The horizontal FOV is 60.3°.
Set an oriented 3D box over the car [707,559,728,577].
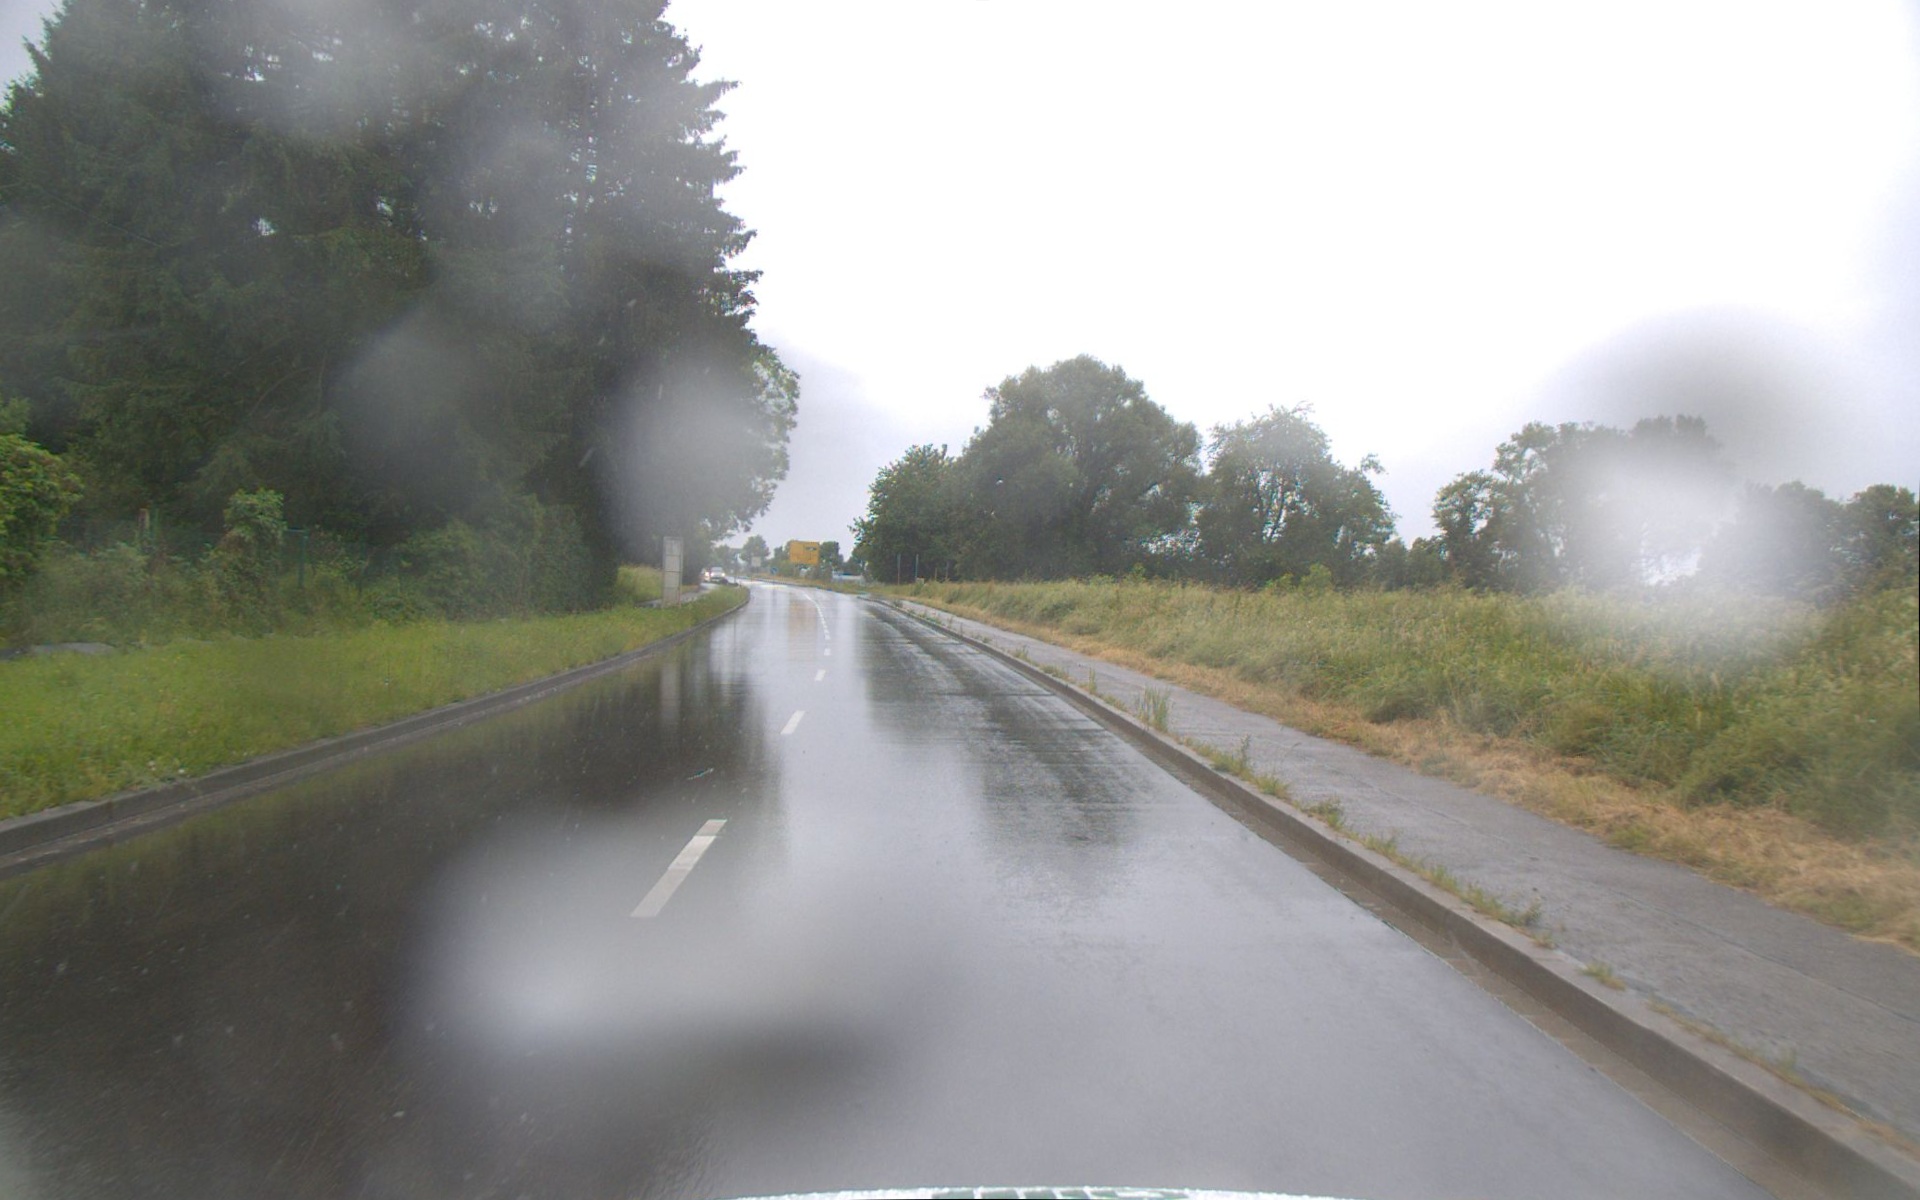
[{"bbox_3d":[-29.503,-3.891,201.034,1.736,1.577,3.979,-1,9,-22],"label":"car"}]
